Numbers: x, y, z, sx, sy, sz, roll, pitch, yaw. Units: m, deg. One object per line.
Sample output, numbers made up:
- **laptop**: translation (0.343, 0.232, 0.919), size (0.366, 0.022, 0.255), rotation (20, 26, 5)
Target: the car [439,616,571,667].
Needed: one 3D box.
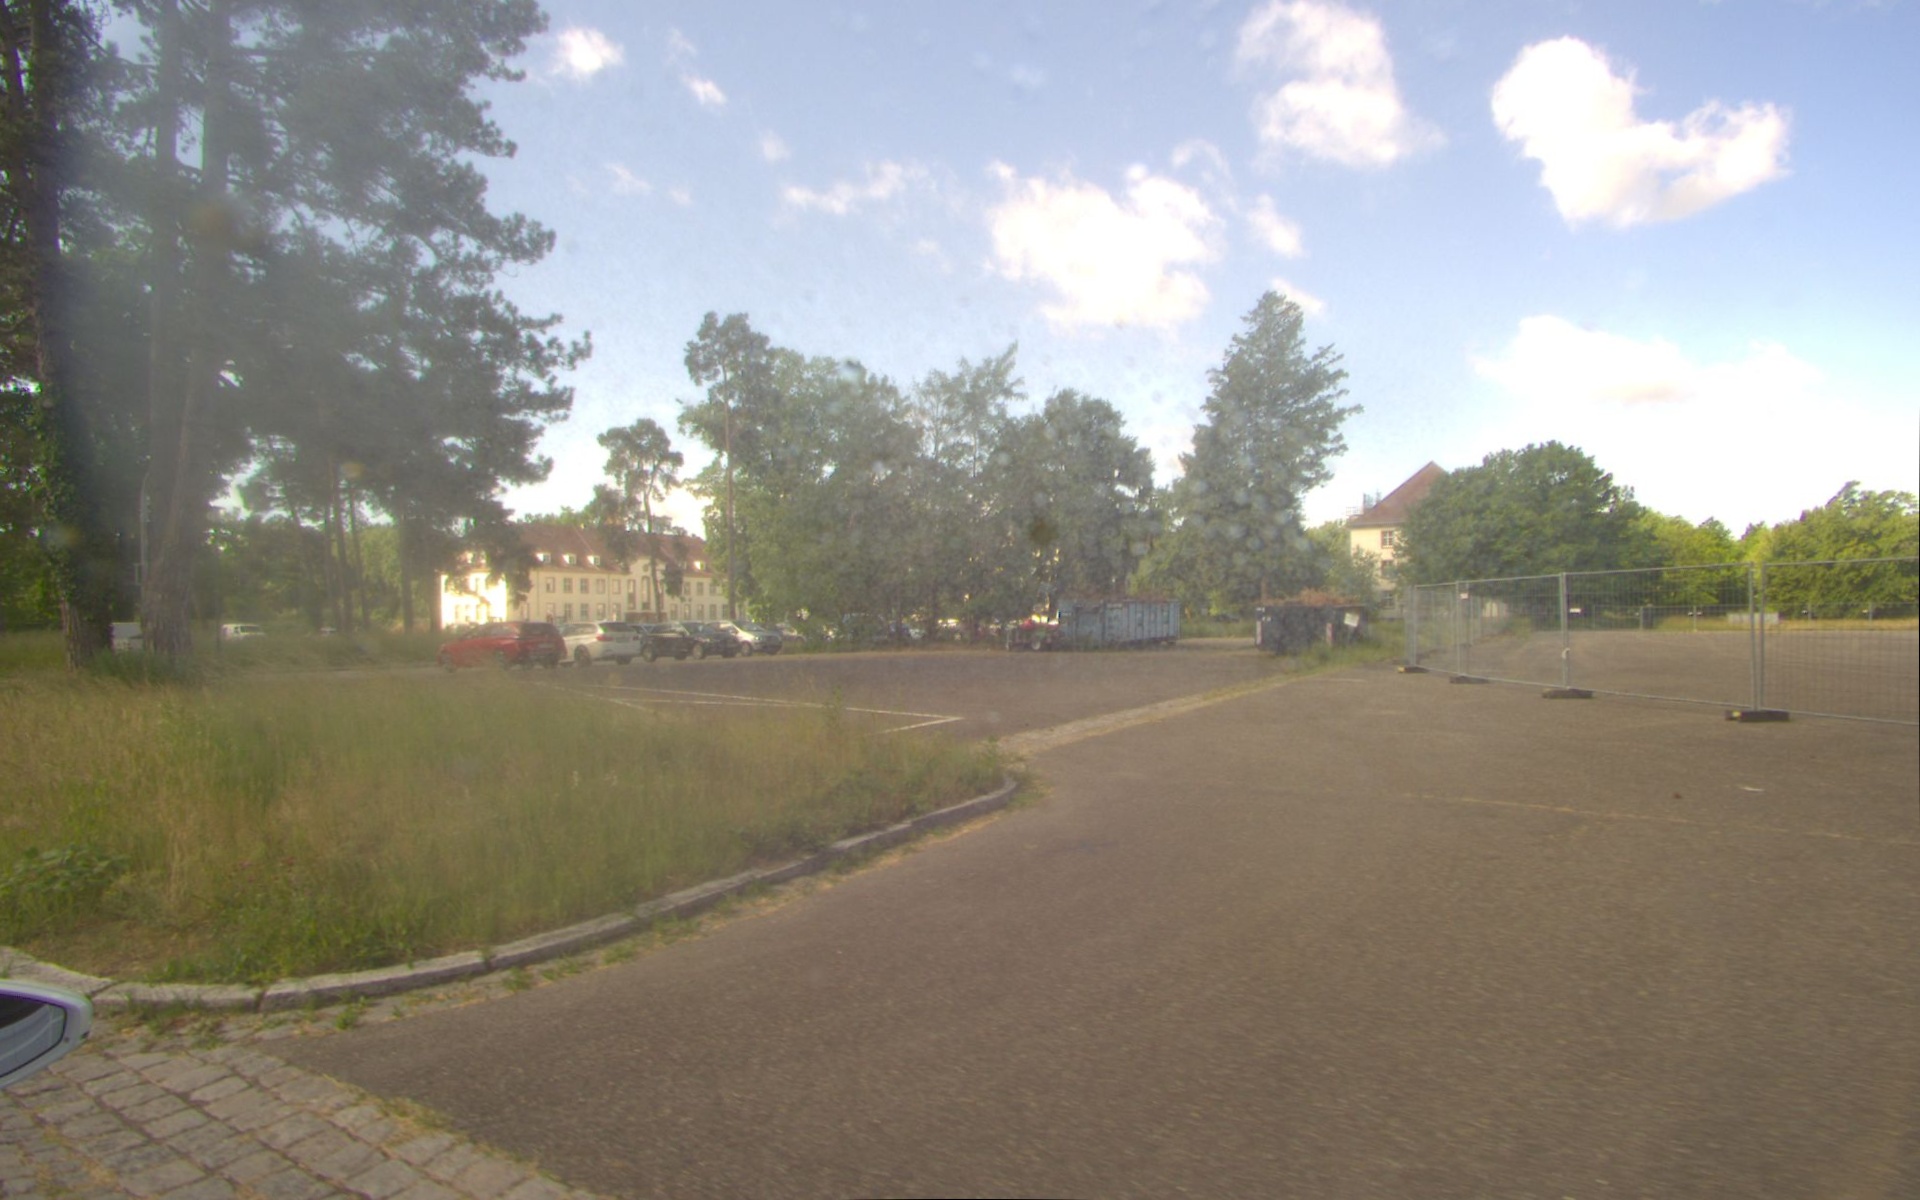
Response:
- **car**: translation (-13.613, 1.263, 29.906), size (4.071, 1.416, 1.653), rotation (-2, -3, 32)

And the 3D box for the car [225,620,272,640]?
- **car**: translation (-60.302, 2.553, 84.814), size (4.103, 1.602, 1.823), rotation (-1, -1, 32)

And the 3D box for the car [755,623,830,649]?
- **car**: translation (-9.594, 2.061, 57.305), size (4.181, 1.443, 1.721), rotation (-1, -2, 32)

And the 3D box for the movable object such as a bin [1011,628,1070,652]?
- **movable object such as a bin**: translation (2.703, 1.334, 33.599), size (1.696, 0.762, 1.143), rotation (-1, -1, 25)

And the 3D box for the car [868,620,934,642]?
- **car**: translation (-3.950, 2.088, 66.658), size (4.181, 1.443, 1.721), rotation (-1, -2, 32)

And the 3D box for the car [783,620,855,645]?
- **car**: translation (-8.470, 1.969, 60.156), size (4.181, 1.487, 1.721), rotation (-1, -2, 32)

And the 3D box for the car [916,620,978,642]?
- **car**: translation (-0.938, 2.262, 72.082), size (4.181, 1.567, 1.721), rotation (-1, -2, 32)

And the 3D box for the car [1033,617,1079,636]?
- **car**: translation (8.416, 2.332, 87.644), size (3.682, 1.567, 1.705), rotation (-1, -2, 32)

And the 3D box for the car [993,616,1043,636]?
- **car**: translation (4.687, 2.083, 80.785), size (3.682, 1.567, 1.705), rotation (-1, -2, 32)

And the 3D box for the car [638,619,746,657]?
- **car**: translation (-9.929, 1.386, 36.991), size (3.988, 1.332, 1.613), rotation (-1, 0, 33)

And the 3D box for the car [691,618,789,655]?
- **car**: translation (-8.702, 1.448, 39.555), size (3.740, 1.389, 1.720), rotation (-1, -2, 34)

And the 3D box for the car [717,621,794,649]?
- **car**: translation (-11.391, 1.964, 55.607), size (4.181, 1.512, 1.721), rotation (-1, -2, 32)

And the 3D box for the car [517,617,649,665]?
- **car**: translation (-12.220, 1.330, 32.400), size (4.180, 1.396, 1.776), rotation (-3, -2, 31)
